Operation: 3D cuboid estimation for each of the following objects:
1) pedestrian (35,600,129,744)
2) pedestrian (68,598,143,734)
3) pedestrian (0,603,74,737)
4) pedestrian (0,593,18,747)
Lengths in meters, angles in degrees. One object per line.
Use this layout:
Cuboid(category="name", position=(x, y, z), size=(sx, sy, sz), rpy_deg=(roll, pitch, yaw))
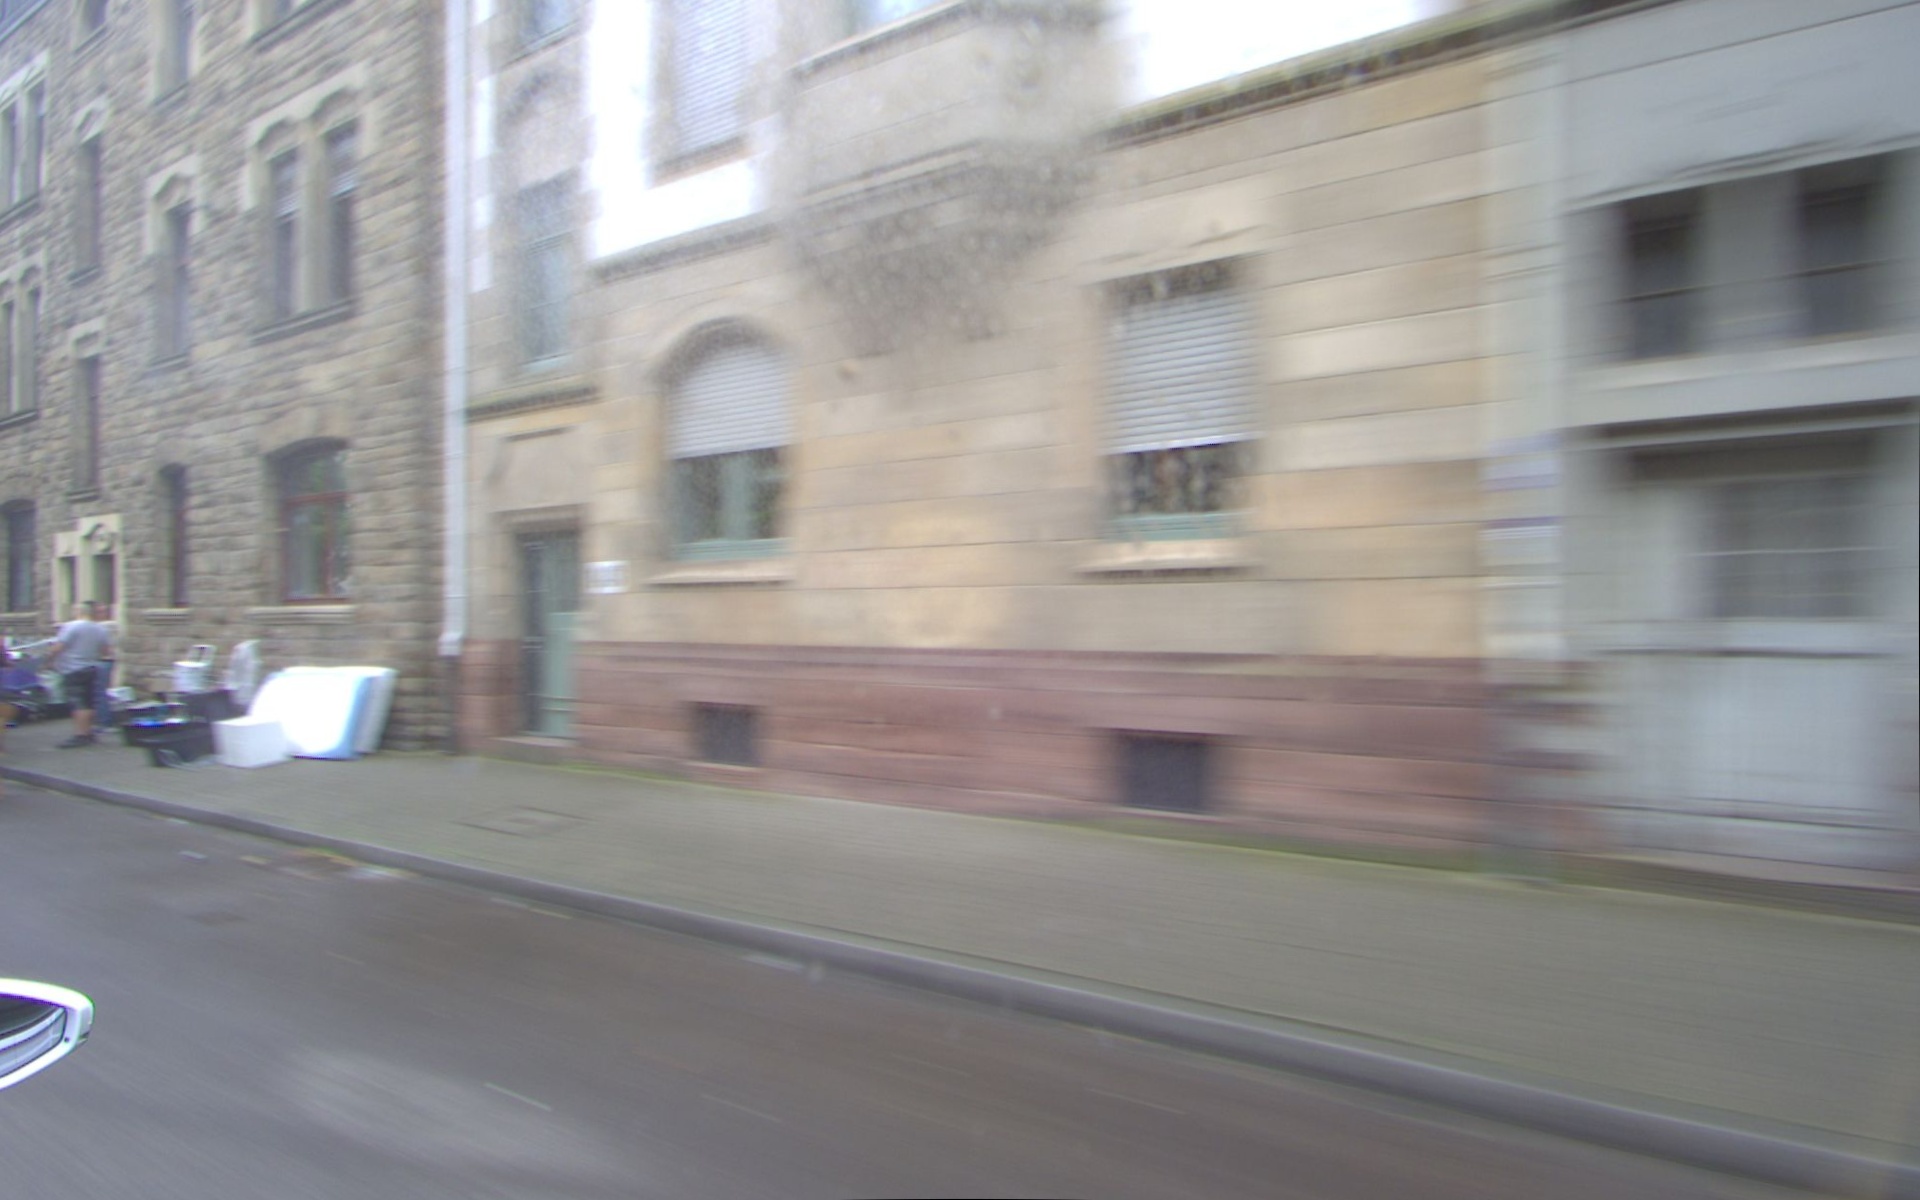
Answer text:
Cuboid(category="pedestrian", position=(-10.822, 0.868, 12.358), size=(0.483, 1.723, 0.704), rpy_deg=(0, 1, 4))
Cuboid(category="pedestrian", position=(-11.254, 0.846, 13.195), size=(0.571, 1.740, 0.508), rpy_deg=(0, 1, 22))
Cuboid(category="pedestrian", position=(-12.486, 0.901, 13.319), size=(0.528, 1.723, 0.863), rpy_deg=(0, 1, 18))
Cuboid(category="pedestrian", position=(-11.848, 0.840, 12.080), size=(0.791, 1.839, 0.497), rpy_deg=(0, 1, 33))
